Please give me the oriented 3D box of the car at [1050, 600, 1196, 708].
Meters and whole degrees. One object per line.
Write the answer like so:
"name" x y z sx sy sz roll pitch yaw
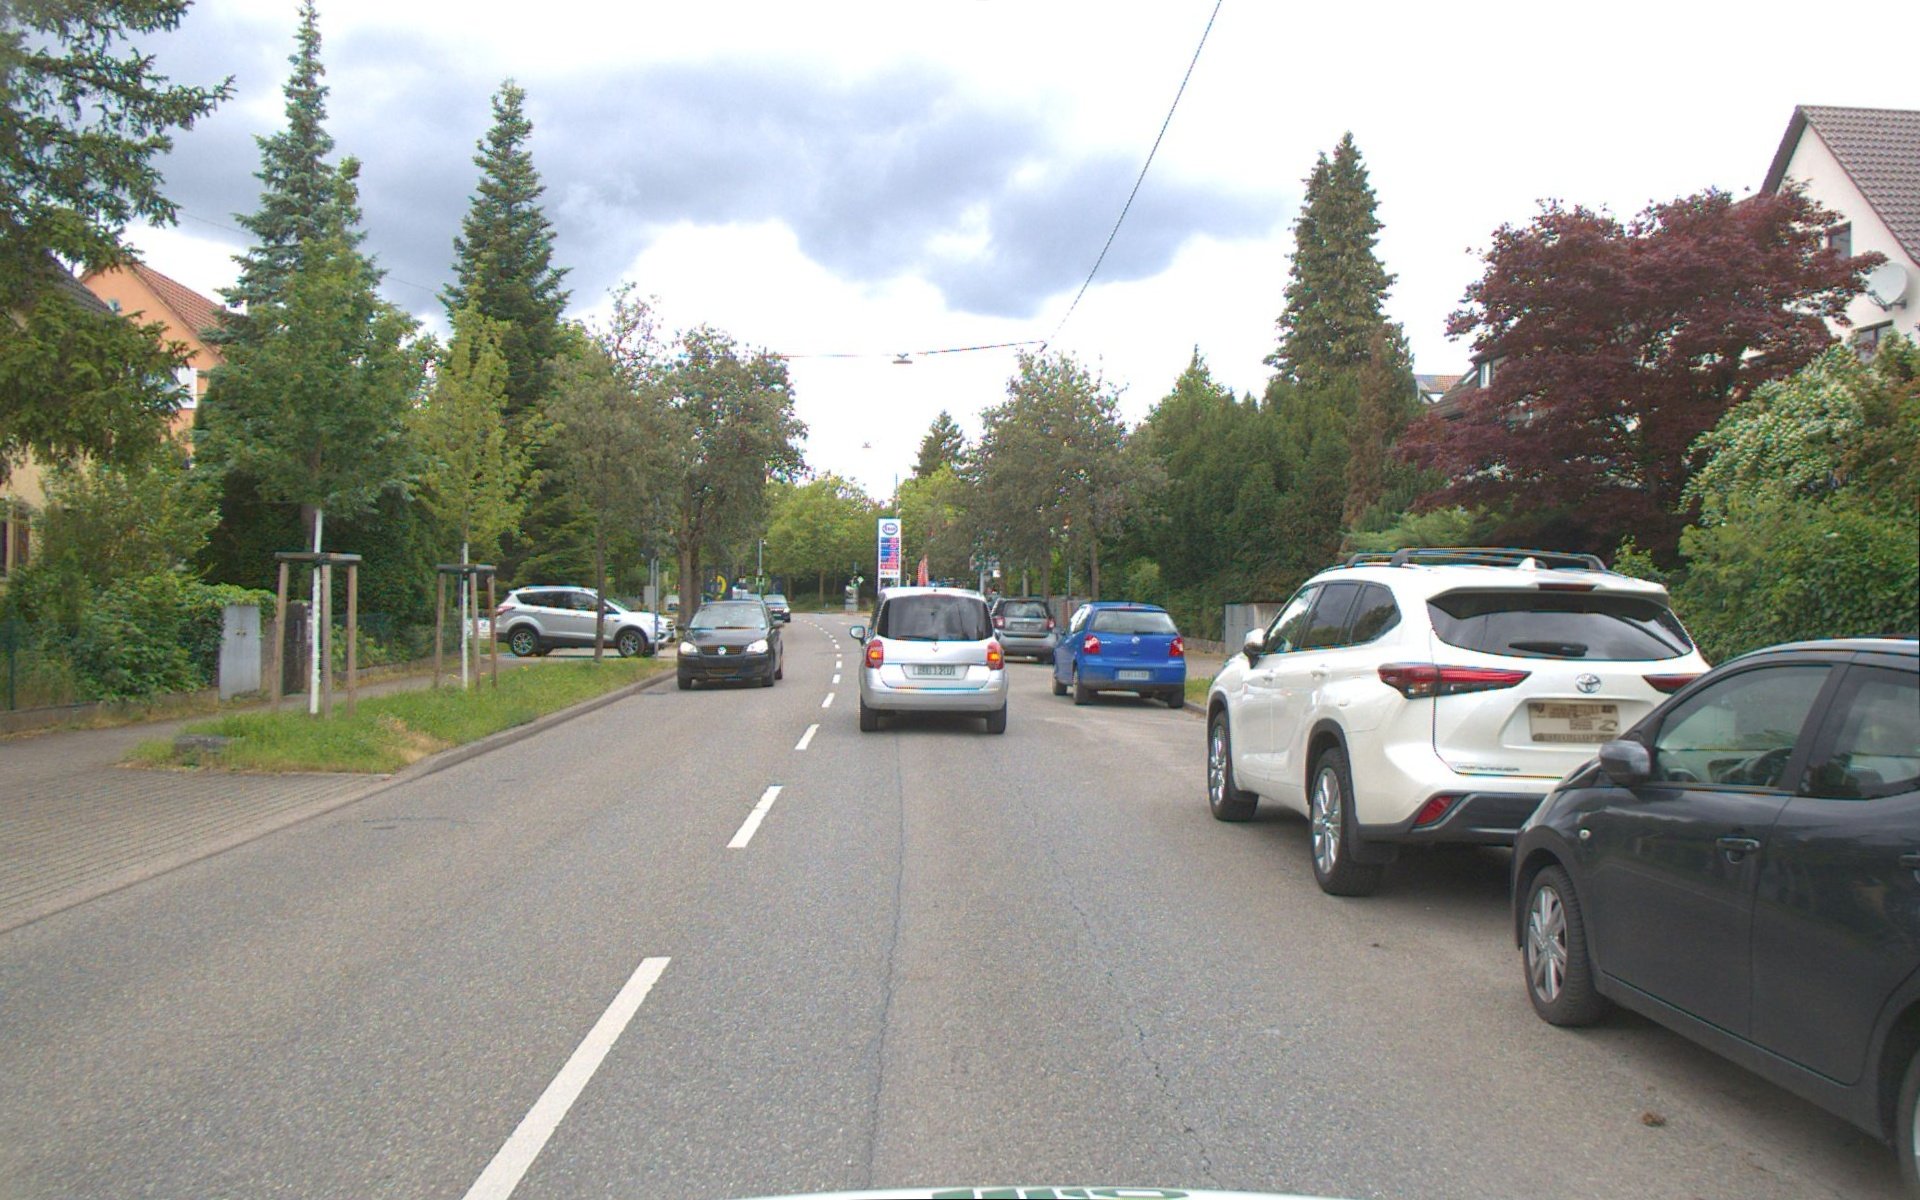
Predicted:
"car" 2.402 0.765 25.183 1.594 1.477 3.873 1 0 -4

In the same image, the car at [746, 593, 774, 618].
"car" -13.517 0.353 111.963 1.759 1.583 3.667 -2 0 -7

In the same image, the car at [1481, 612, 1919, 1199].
"car" 3.034 0.808 5.113 1.527 1.468 3.504 2 0 -4

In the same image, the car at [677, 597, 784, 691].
"car" -3.925 0.712 28.727 1.543 1.498 3.468 -1 0 -4

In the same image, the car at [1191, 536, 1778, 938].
"car" 2.751 0.631 9.950 1.763 1.809 4.702 2 0 -3

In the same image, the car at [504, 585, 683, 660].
"car" -9.045 0.545 41.000 4.002 1.736 1.747 1 0 1

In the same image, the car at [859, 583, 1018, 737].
"car" -0.274 0.642 19.243 1.645 1.587 3.510 1 0 -2

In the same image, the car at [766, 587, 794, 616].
"car" -9.861 0.063 90.598 1.515 1.496 3.737 1 0 -6

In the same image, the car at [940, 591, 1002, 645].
"car" 0.308 0.535 51.650 1.661 1.598 3.953 1 0 -3

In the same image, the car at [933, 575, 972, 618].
"car" -0.530 -0.245 117.278 2.237 2.962 5.273 2 0 -5

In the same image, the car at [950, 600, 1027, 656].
"car" 0.747 0.749 46.328 1.664 1.458 4.335 0 0 -5

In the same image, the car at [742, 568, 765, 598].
"car" -17.350 -1.384 138.839 1.898 2.450 3.994 1 0 -7

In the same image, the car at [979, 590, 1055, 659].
"car" 1.357 0.566 40.697 1.661 1.585 3.955 -1 0 -1
